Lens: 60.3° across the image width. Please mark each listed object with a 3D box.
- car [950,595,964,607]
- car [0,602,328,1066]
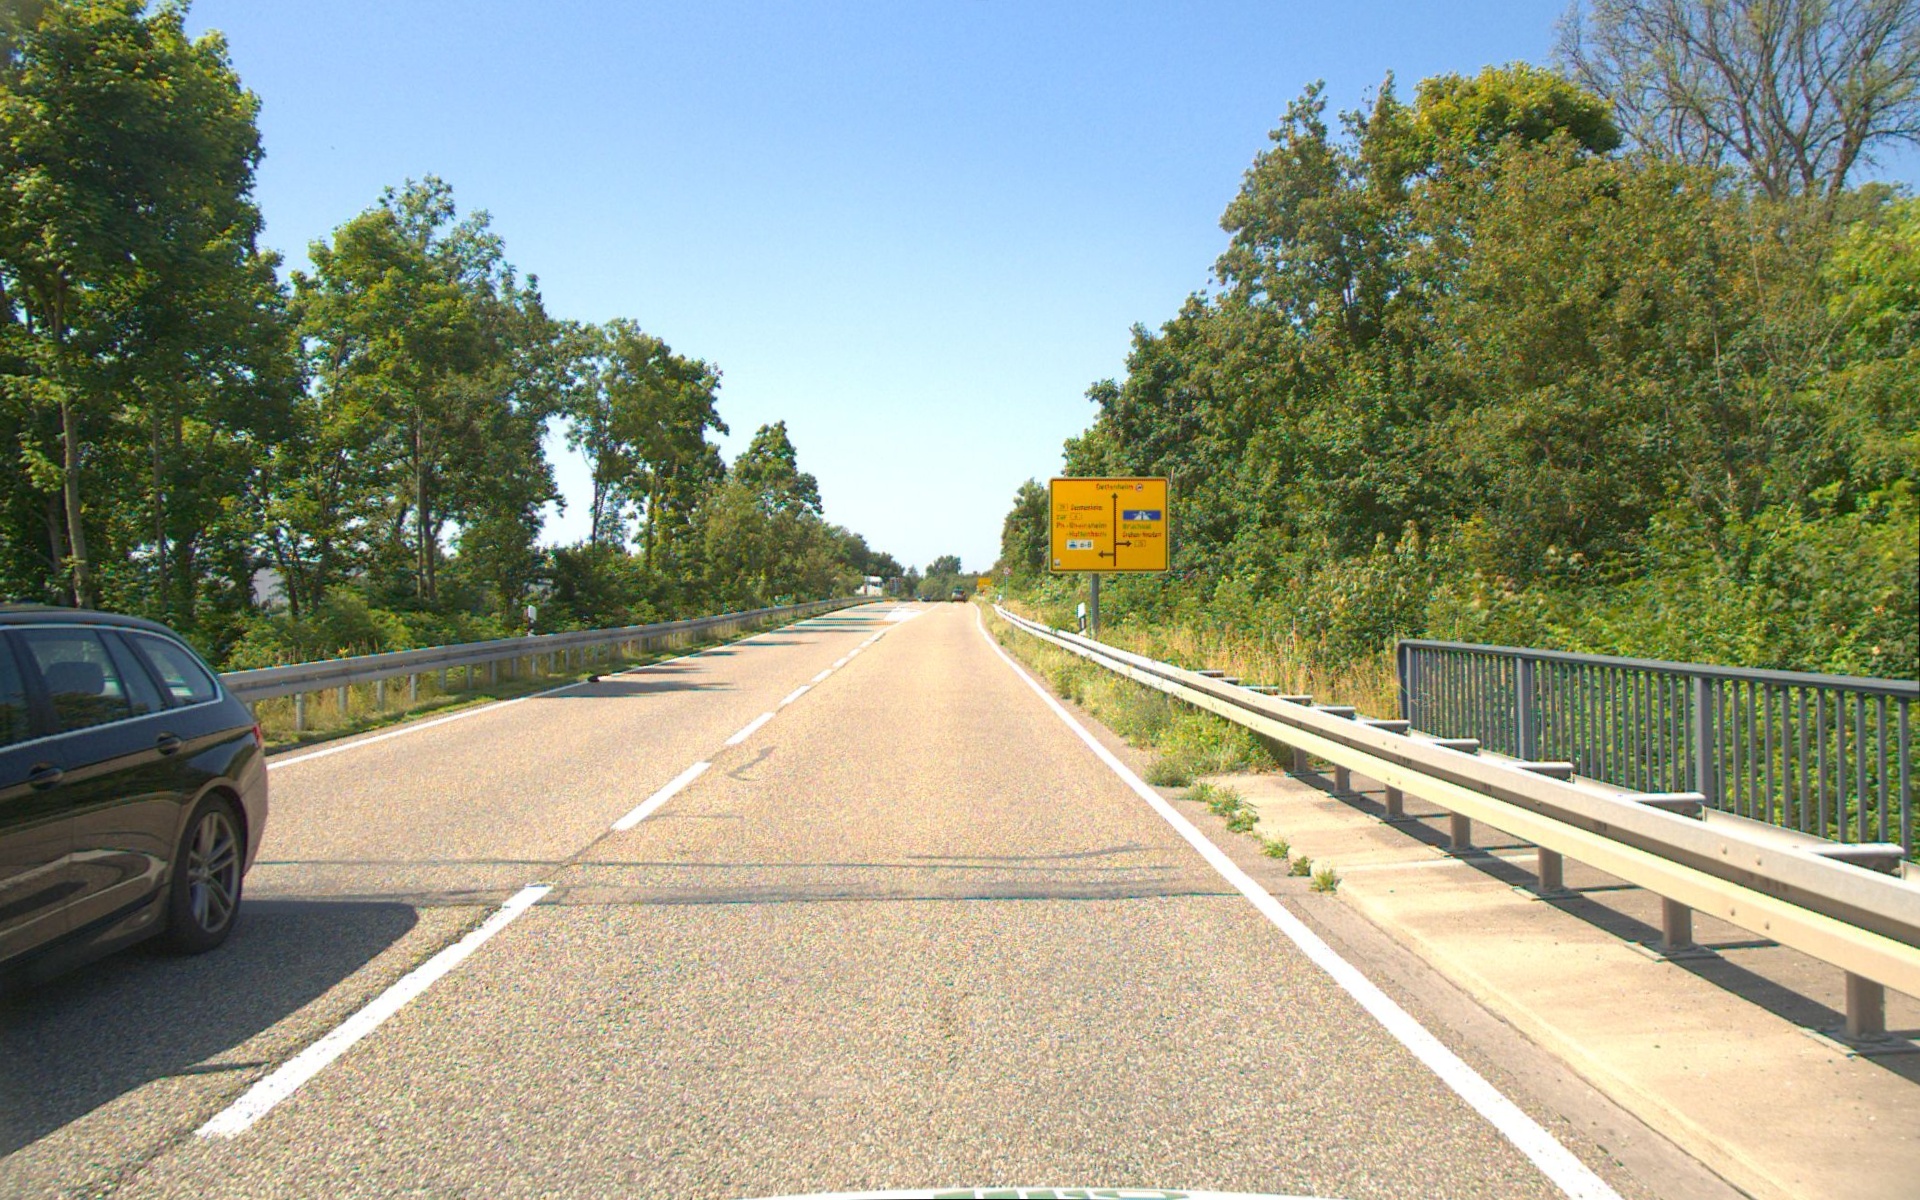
[{"bbox_3d":[-0.366,0.116,197.751,1.705,1.496,3.692,0,0,0],"label":"car"},{"bbox_3d":[-3.869,0.736,5.608,1.710,1.450,4.676,0,0,-1],"label":"car"}]
